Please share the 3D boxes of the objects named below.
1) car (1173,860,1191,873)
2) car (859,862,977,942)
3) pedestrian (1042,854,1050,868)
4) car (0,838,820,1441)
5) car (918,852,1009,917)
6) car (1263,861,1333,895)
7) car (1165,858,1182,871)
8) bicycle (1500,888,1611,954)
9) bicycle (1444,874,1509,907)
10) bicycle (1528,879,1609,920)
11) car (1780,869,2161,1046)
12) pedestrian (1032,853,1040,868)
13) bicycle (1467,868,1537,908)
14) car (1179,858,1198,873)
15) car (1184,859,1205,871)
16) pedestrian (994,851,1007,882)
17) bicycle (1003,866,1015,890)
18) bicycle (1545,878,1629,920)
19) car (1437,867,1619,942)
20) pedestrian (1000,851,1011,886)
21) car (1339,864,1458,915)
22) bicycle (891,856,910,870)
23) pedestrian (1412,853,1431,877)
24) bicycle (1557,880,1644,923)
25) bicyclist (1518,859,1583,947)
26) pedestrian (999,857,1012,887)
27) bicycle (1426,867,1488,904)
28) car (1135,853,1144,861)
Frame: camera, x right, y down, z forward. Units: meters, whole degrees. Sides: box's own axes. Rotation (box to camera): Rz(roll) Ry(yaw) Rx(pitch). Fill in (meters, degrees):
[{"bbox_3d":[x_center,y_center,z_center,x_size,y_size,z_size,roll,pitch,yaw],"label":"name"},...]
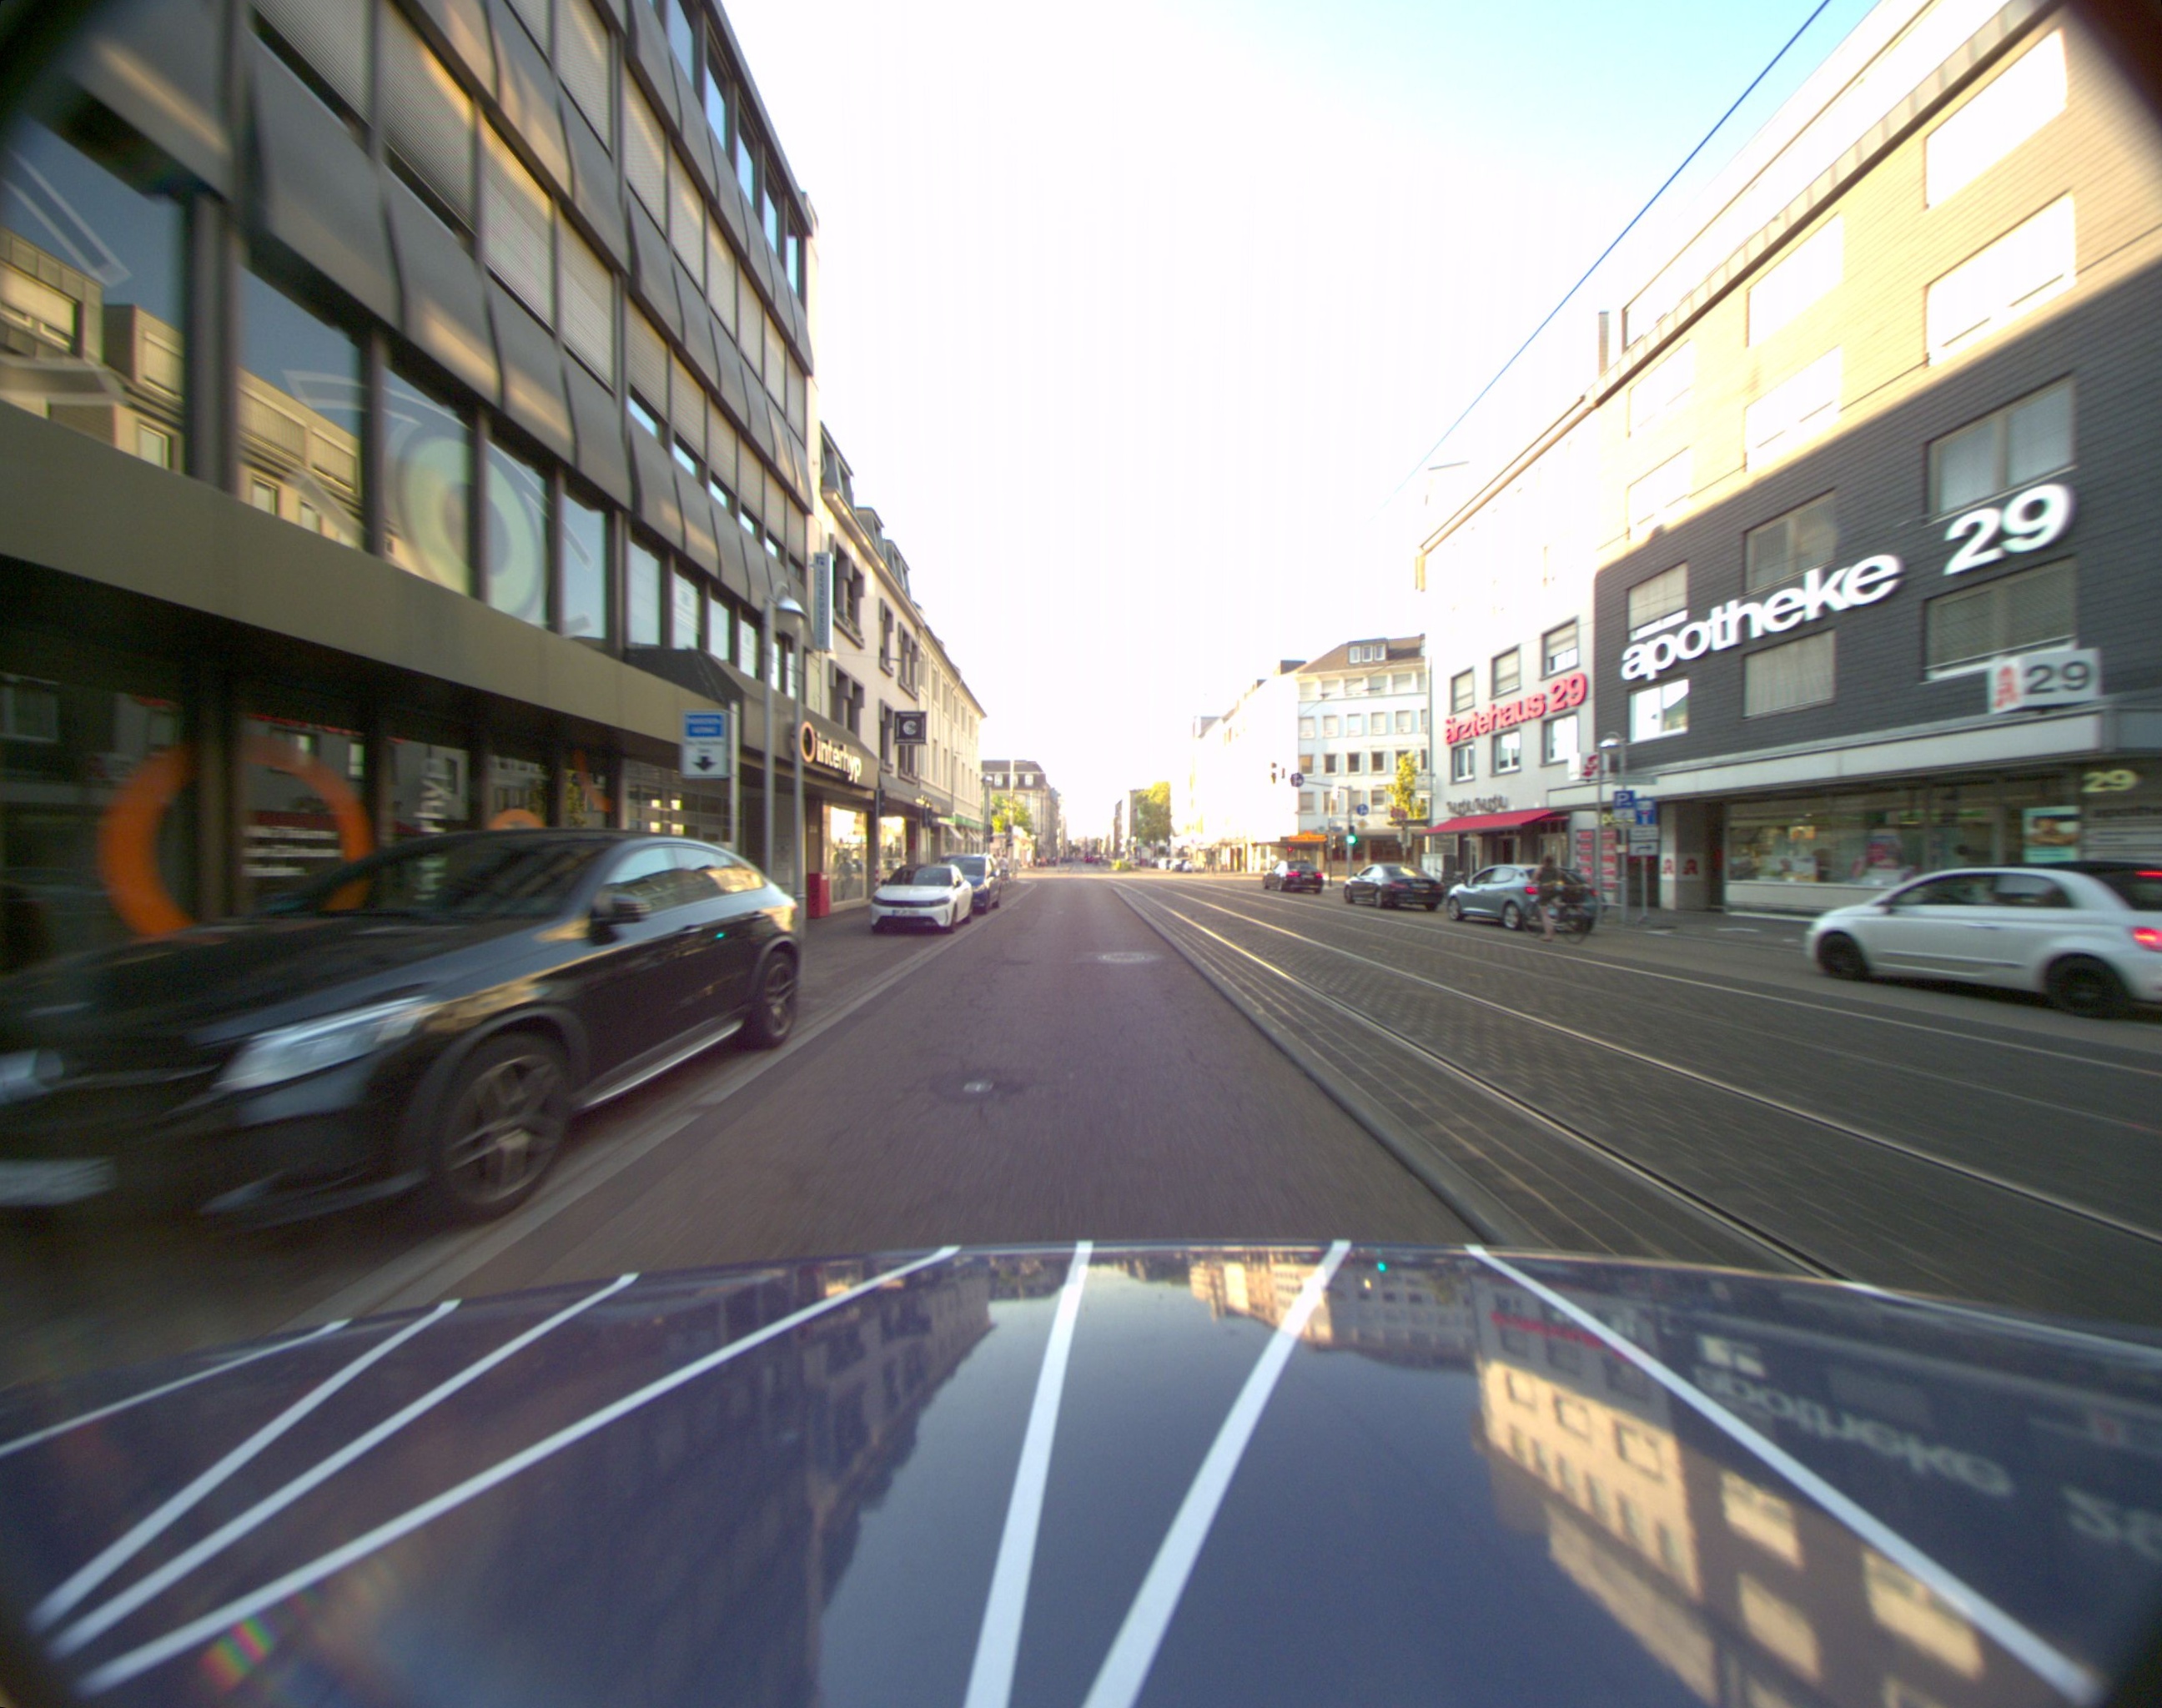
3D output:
[{"bbox_3d":[12.600,1.522,95.074,1.847,1.625,4.001,0,0,3],"label":"car"},{"bbox_3d":[-3.474,0.970,16.904,1.770,1.476,3.872,2,0,0],"label":"car"},{"bbox_3d":[-3.951,0.811,86.276,0.806,1.603,0.993,-1,1,0],"label":"pedestrian"},{"bbox_3d":[-3.423,0.830,4.565,1.989,1.724,4.671,2,0,1],"label":"car"},{"bbox_3d":[-3.388,0.834,22.829,1.919,1.707,4.563,2,0,1],"label":"car"},{"bbox_3d":[9.828,1.040,34.753,1.919,1.378,4.563,2,0,1],"label":"car"},{"bbox_3d":[12.478,1.404,102.655,1.847,1.625,4.001,0,0,3],"label":"car"},{"bbox_3d":[8.614,1.184,13.911,0.695,1.028,2.081,0,0,-1],"label":"bicycle"},{"bbox_3d":[13.386,1.229,25.754,1.861,0.978,0.607,-3,0,0],"label":"bicycle"},{"bbox_3d":[13.329,1.243,20.787,1.861,0.978,0.492,-3,0,0],"label":"bicycle"},{"bbox_3d":[10.365,0.973,8.483,1.671,1.497,3.680,2,0,0],"label":"car"},{"bbox_3d":[-5.133,0.753,86.246,0.806,1.603,0.993,-1,1,0],"label":"pedestrian"},{"bbox_3d":[13.458,1.083,24.331,1.861,1.128,0.607,-3,0,0],"label":"bicycle"},{"bbox_3d":[12.486,1.321,88.521,1.847,1.625,4.001,0,0,3],"label":"car"},{"bbox_3d":[12.537,1.198,83.977,1.847,1.287,4.001,0,0,3],"label":"car"},{"bbox_3d":[-4.619,0.696,43.481,0.639,1.735,0.699,0,1,2],"label":"pedestrian"},{"bbox_3d":[-3.460,1.117,36.454,0.479,1.083,1.647,1,1,-3],"label":"bicycle"},{"bbox_3d":[13.322,1.187,20.031,1.861,0.978,0.462,-3,0,0],"label":"bicycle"},{"bbox_3d":[9.939,1.050,17.311,1.763,1.378,4.061,2,0,1],"label":"car"},{"bbox_3d":[-4.183,0.784,42.220,0.576,1.917,0.496,0,1,-11],"label":"pedestrian"},{"bbox_3d":[10.046,1.067,24.447,1.919,1.378,4.563,2,0,1],"label":"car"},{"bbox_3d":[-18.947,0.935,79.902,0.679,1.514,2.234,0,0,25],"label":"bicycle"},{"bbox_3d":[25.519,0.829,56.952,0.808,1.716,0.991,-2,2,-38],"label":"pedestrian"},{"bbox_3d":[13.327,1.218,19.516,1.861,0.978,0.462,-3,0,0],"label":"bicycle"},{"bbox_3d":[8.611,0.876,13.953,0.695,1.556,0.799,0,0,-1],"label":"bicyclist"},{"bbox_3d":[-4.445,1.058,44.854,0.672,1.768,0.647,0,1,-1],"label":"pedestrian"},{"bbox_3d":[13.465,1.126,27.205,1.861,1.219,0.607,-3,0,0],"label":"bicycle"},{"bbox_3d":[12.821,0.654,167.462,1.847,1.625,4.001,0,0,3],"label":"car"}]
